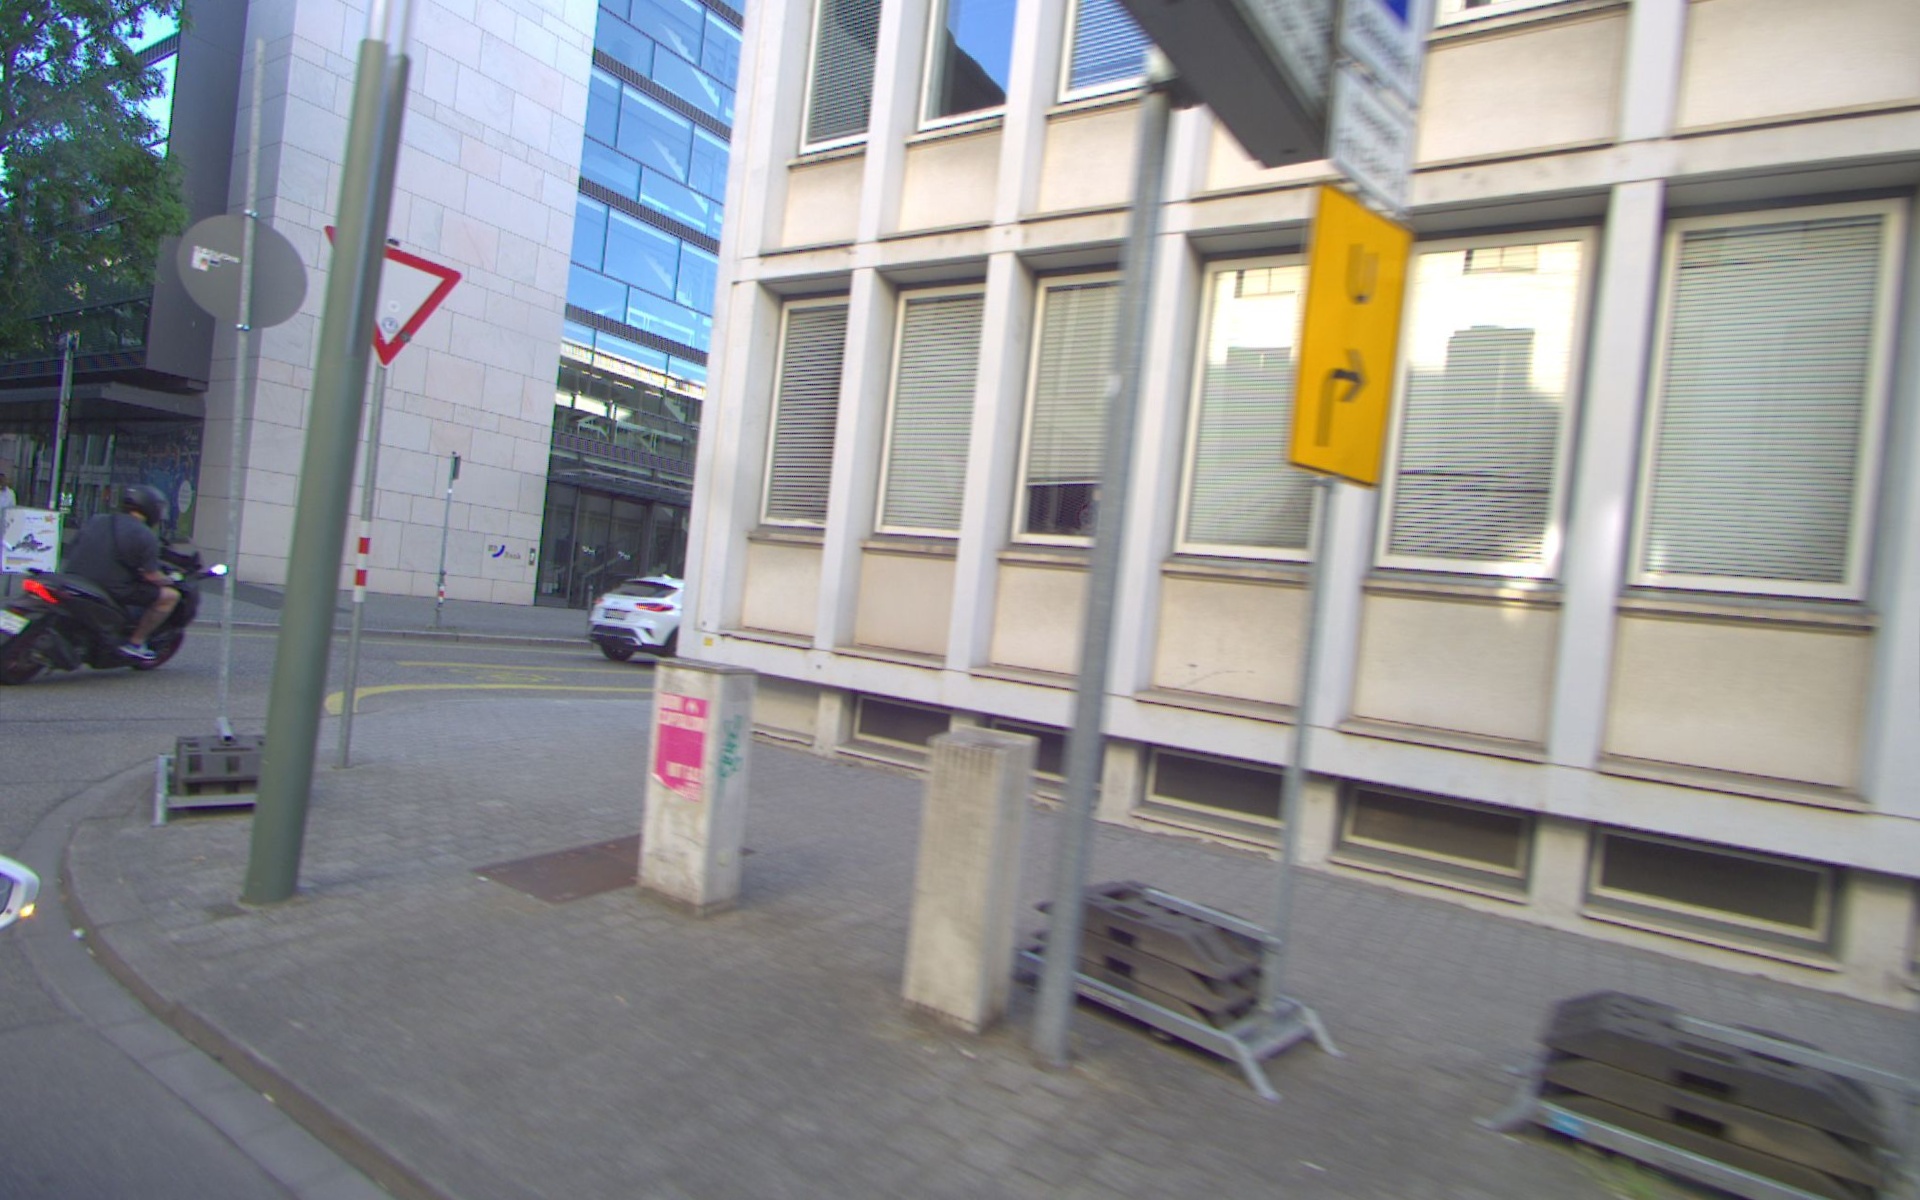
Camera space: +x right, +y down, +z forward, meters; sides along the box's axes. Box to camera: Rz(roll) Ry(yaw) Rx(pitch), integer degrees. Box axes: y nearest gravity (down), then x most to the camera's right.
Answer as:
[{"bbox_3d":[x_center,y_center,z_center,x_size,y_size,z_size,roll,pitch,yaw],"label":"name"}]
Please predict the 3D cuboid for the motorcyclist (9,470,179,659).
[{"bbox_3d":[-7.172,-0.279,8.358,0.854,1.444,0.455,6,-1,-3],"label":"motorcyclist"}]

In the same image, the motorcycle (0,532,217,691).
[{"bbox_3d":[-7.197,0.082,8.234,0.859,1.122,1.839,6,-2,-4],"label":"motorcycle"}]

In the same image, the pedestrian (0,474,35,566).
[{"bbox_3d":[-18.655,-1.560,19.470,0.821,1.729,0.904,6,3,34],"label":"pedestrian"}]

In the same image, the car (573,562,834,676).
[{"bbox_3d":[-4.326,0.406,17.628,1.798,1.560,4.255,7,-1,32],"label":"car"}]
